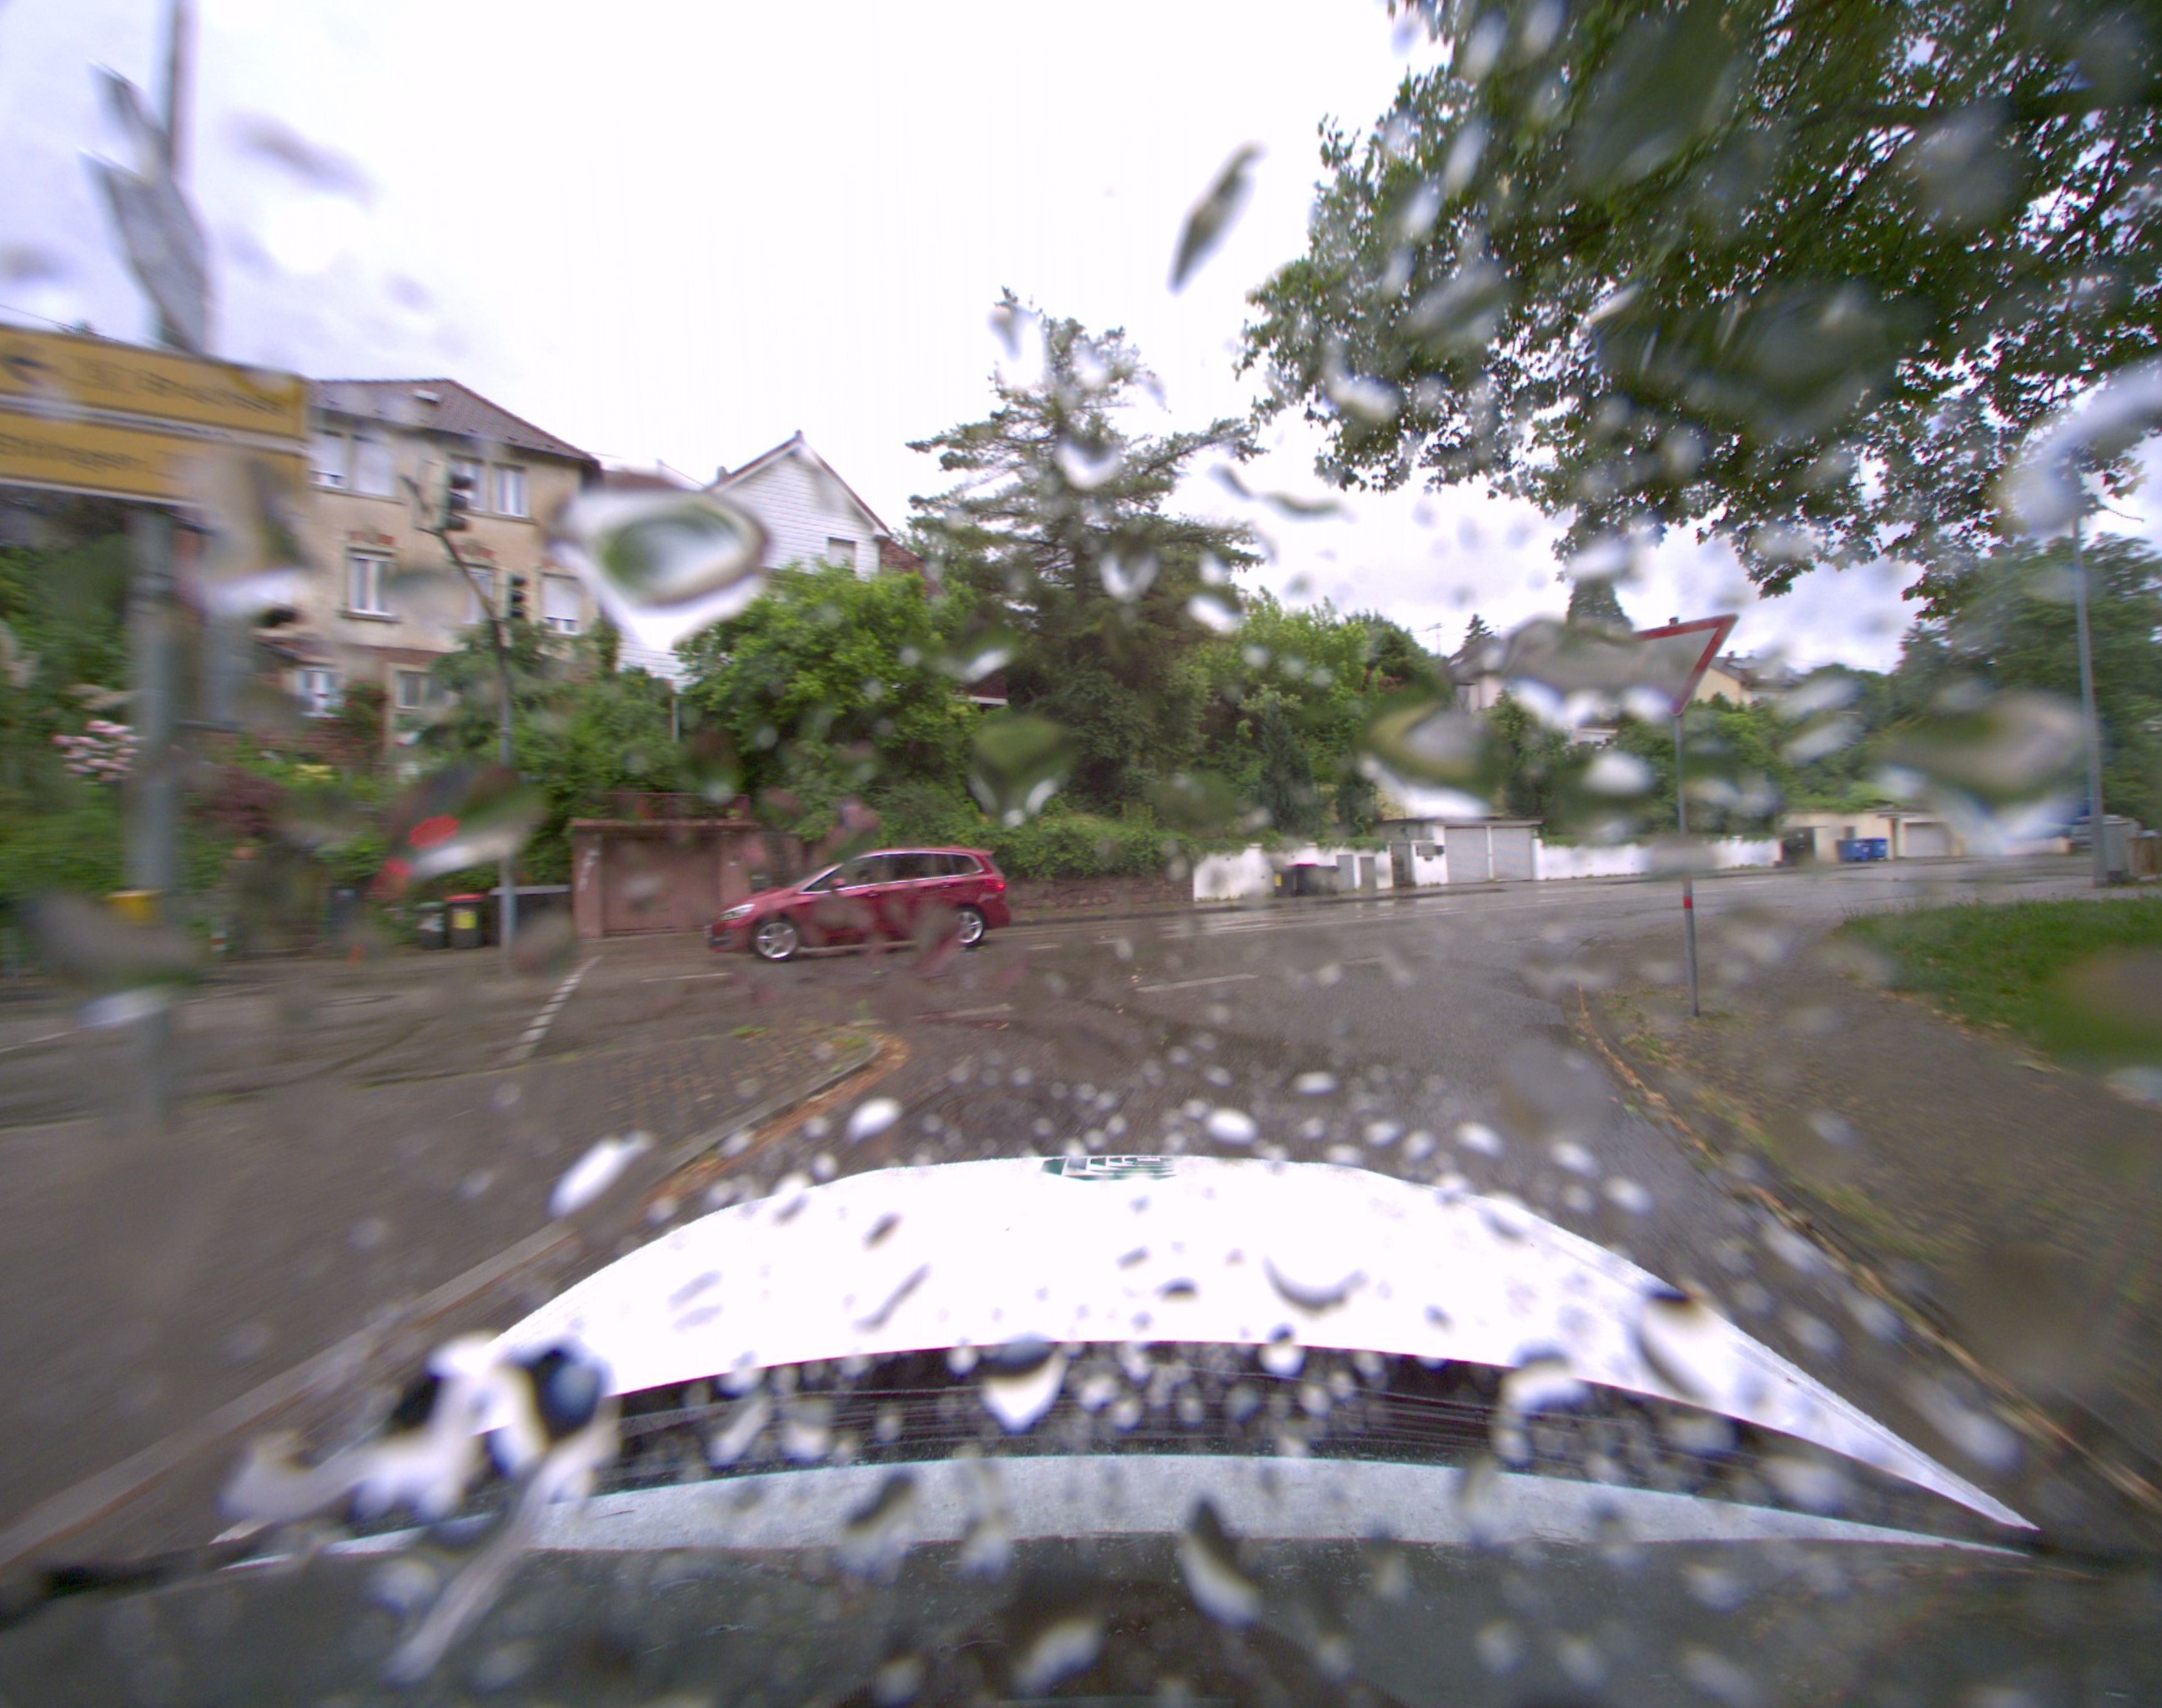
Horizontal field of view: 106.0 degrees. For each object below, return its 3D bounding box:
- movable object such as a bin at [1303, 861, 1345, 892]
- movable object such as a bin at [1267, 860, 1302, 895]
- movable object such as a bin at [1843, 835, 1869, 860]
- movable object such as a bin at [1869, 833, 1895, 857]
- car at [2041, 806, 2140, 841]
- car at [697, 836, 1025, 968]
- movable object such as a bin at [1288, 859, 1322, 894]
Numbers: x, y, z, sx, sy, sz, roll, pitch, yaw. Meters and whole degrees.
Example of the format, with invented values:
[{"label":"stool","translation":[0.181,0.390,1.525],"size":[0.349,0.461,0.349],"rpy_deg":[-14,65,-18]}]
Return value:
[{"label":"movable object such as a bin","translation":[7.878,0.734,26.414],"size":[0.957,0.916,0.844],"rpy_deg":[-3,-1,-29]},{"label":"movable object such as a bin","translation":[6.345,0.729,25.452],"size":[0.756,1.060,0.682],"rpy_deg":[-2,-1,-28]},{"label":"movable object such as a bin","translation":[43.670,-0.373,45.914],"size":[0.834,1.336,0.708],"rpy_deg":[-3,-1,-19]},{"label":"movable object such as a bin","translation":[45.833,-0.511,46.584],"size":[0.834,1.336,0.708],"rpy_deg":[-3,-1,-19]},{"label":"car","translation":[59.649,-1.775,48.128],"size":[5.185,1.753,2.286],"rpy_deg":[-3,-1,-23]},{"label":"car","translation":[-3.356,0.646,12.643],"size":[4.594,1.601,1.758],"rpy_deg":[-3,-1,-28]},{"label":"movable object such as a bin","translation":[7.082,0.704,25.767],"size":[0.796,1.060,0.630],"rpy_deg":[-2,-1,-28]}]
